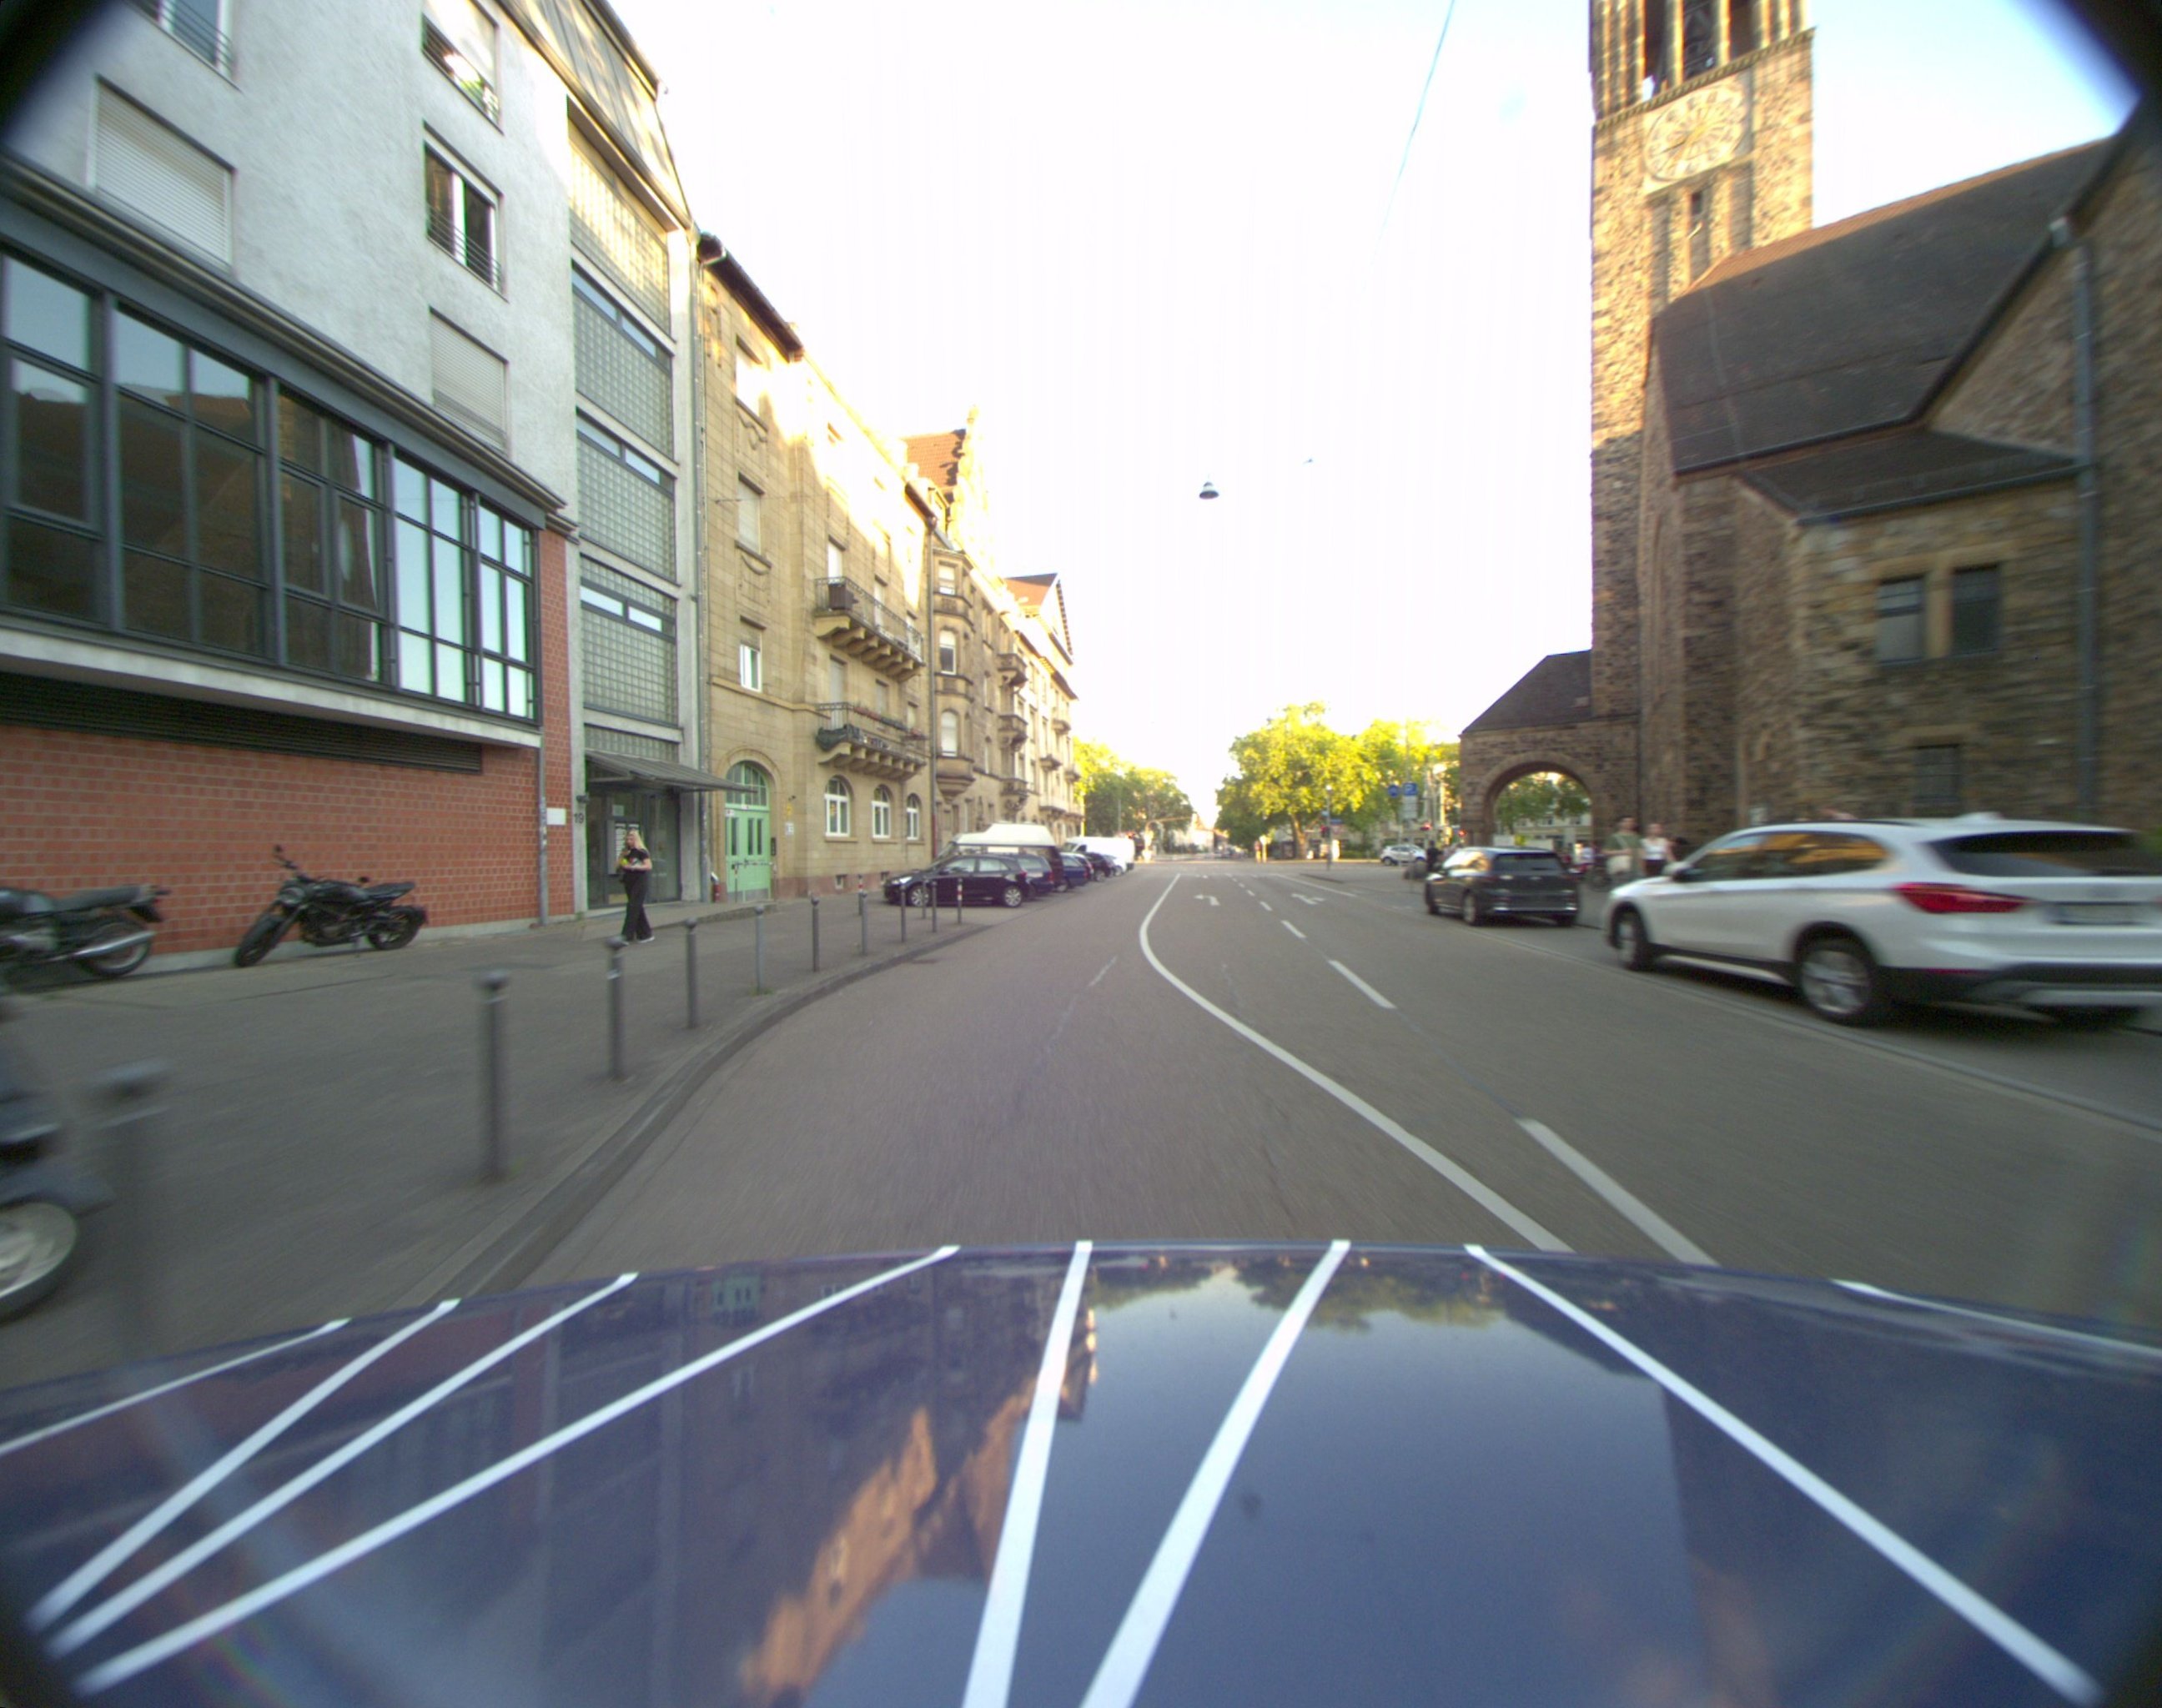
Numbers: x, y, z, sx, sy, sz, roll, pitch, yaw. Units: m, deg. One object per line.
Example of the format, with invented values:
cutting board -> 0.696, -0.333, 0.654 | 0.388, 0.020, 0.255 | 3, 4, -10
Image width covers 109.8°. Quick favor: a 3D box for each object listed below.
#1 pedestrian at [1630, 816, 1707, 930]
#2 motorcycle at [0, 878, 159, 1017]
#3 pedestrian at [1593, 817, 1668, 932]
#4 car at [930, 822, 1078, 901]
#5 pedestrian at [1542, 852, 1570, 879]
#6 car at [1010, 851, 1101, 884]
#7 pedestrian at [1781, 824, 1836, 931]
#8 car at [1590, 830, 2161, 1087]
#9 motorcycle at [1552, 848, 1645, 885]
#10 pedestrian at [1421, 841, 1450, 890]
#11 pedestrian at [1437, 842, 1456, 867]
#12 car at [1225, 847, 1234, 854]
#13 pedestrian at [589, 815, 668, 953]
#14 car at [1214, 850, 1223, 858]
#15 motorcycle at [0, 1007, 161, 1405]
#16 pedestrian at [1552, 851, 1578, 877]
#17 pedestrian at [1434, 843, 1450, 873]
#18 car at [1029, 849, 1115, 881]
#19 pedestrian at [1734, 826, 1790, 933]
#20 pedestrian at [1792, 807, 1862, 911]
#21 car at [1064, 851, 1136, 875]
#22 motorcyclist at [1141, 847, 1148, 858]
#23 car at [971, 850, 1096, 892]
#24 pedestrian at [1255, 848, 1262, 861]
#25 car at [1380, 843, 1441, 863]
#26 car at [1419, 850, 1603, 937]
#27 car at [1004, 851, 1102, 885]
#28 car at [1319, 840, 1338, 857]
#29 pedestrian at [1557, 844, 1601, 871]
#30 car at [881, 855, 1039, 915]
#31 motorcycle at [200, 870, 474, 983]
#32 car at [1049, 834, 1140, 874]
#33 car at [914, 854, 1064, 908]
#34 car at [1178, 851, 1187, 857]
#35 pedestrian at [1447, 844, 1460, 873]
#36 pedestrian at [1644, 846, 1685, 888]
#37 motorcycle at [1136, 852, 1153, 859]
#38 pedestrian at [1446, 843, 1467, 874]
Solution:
pedestrian -> 9.882, 0.304, 12.809 | 0.573, 1.846, 0.989 | -1, 1, 6
motorcycle -> -9.641, 0.830, 6.450 | 0.777, 1.133, 2.415 | 1, 1, -4
pedestrian -> 9.214, 0.333, 12.768 | 0.648, 1.868, 0.891 | -1, 1, 6
car -> -2.680, 0.206, 26.319 | 4.730, 2.532, 1.915 | -1, 2, -20
pedestrian -> 17.946, 0.428, 28.696 | 0.562, 0.986, 0.695 | -1, 1, -25
car -> -1.236, 0.656, 37.292 | 4.064, 1.490, 1.750 | 1, 1, -26
pedestrian -> 11.696, 0.368, 12.220 | 0.415, 1.665, 0.547 | -2, 1, -31
car -> 6.819, 0.626, 6.890 | 1.875, 1.582, 4.471 | -1, 1, 7
motorcycle -> 17.391, 0.413, 25.598 | 2.418, 1.119, 0.822 | -3, 0, 13
pedestrian -> 12.636, 0.391, 27.088 | 0.716, 1.715, 0.691 | -1, 1, -1
pedestrian -> 20.295, 0.017, 42.196 | 0.801, 1.367, 0.701 | 0, 1, 43
car -> 33.834, -0.731, 173.078 | 1.826, 1.565, 4.004 | -1, 0, 13
pedestrian -> -6.839, 0.436, 11.502 | 0.608, 2.002, 0.858 | 1, 1, 10
car -> 33.481, 0.045, 185.400 | 1.990, 1.945, 4.600 | -1, 0, 12
motorcycle -> -4.031, 1.074, 2.325 | 1.648, 1.095, 0.647 | 1, 1, 0
pedestrian -> 18.473, 0.379, 28.999 | 0.562, 0.962, 0.648 | -1, 1, -25
pedestrian -> 17.637, 0.182, 37.129 | 0.549, 1.445, 0.559 | 0, 1, 44
car -> -0.472, 0.575, 40.084 | 4.105, 1.598, 1.812 | 1, 1, -29
pedestrian -> 10.640, 0.384, 11.874 | 0.415, 1.613, 0.547 | -2, 1, -31
pedestrian -> 11.399, 0.070, 11.624 | 0.650, 1.536, 0.586 | -1, 1, 32
car -> 1.240, 0.586, 49.214 | 4.262, 1.445, 1.995 | 0, 1, -30
motorcyclist -> 8.722, -0.167, 104.685 | 0.830, 1.511, 0.622 | -1, 1, -16
car -> -1.819, 0.669, 29.158 | 4.404, 1.478, 1.840 | 1, 1, -22
pedestrian -> 22.799, 0.097, 97.555 | 0.745, 1.619, 0.661 | -1, 1, 26
car -> 25.863, -0.054, 59.725 | 3.988, 1.549, 1.845 | -1, 1, 42
car -> 8.066, 0.647, 14.744 | 1.786, 1.427, 4.319 | -1, 1, 10
car -> -1.262, 0.661, 34.803 | 4.040, 1.423, 1.864 | 1, 1, -25
car -> 31.008, -0.702, 95.198 | 1.864, 2.002, 3.816 | 0, 1, 24
pedestrian -> 20.444, 0.146, 31.208 | 0.686, 1.088, 1.330 | -1, 1, -31
car -> -3.408, 0.806, 21.357 | 4.074, 1.483, 1.720 | -1, 1, -22
motorcycle -> -9.061, 0.810, 9.458 | 0.801, 1.133, 2.441 | 2, 1, 8
car -> 0.949, -0.020, 52.004 | 5.895, 2.537, 2.190 | 0, 3, -32
car -> -2.895, 0.785, 23.808 | 4.360, 1.494, 1.910 | -1, 1, -19
car -> 24.083, -0.010, 179.966 | 1.792, 1.571, 4.004 | -1, 0, 12
pedestrian -> 18.031, 0.198, 36.803 | 0.401, 1.398, 0.549 | 0, 1, 44
pedestrian -> 14.829, 0.322, 19.306 | 0.739, 1.042, 0.519 | -1, 1, -21
motorcycle -> 8.777, 0.181, 104.710 | 2.286, 0.917, 0.622 | -1, 1, -16
pedestrian -> 17.464, 0.201, 35.353 | 0.702, 1.398, 0.633 | 0, 1, 44
